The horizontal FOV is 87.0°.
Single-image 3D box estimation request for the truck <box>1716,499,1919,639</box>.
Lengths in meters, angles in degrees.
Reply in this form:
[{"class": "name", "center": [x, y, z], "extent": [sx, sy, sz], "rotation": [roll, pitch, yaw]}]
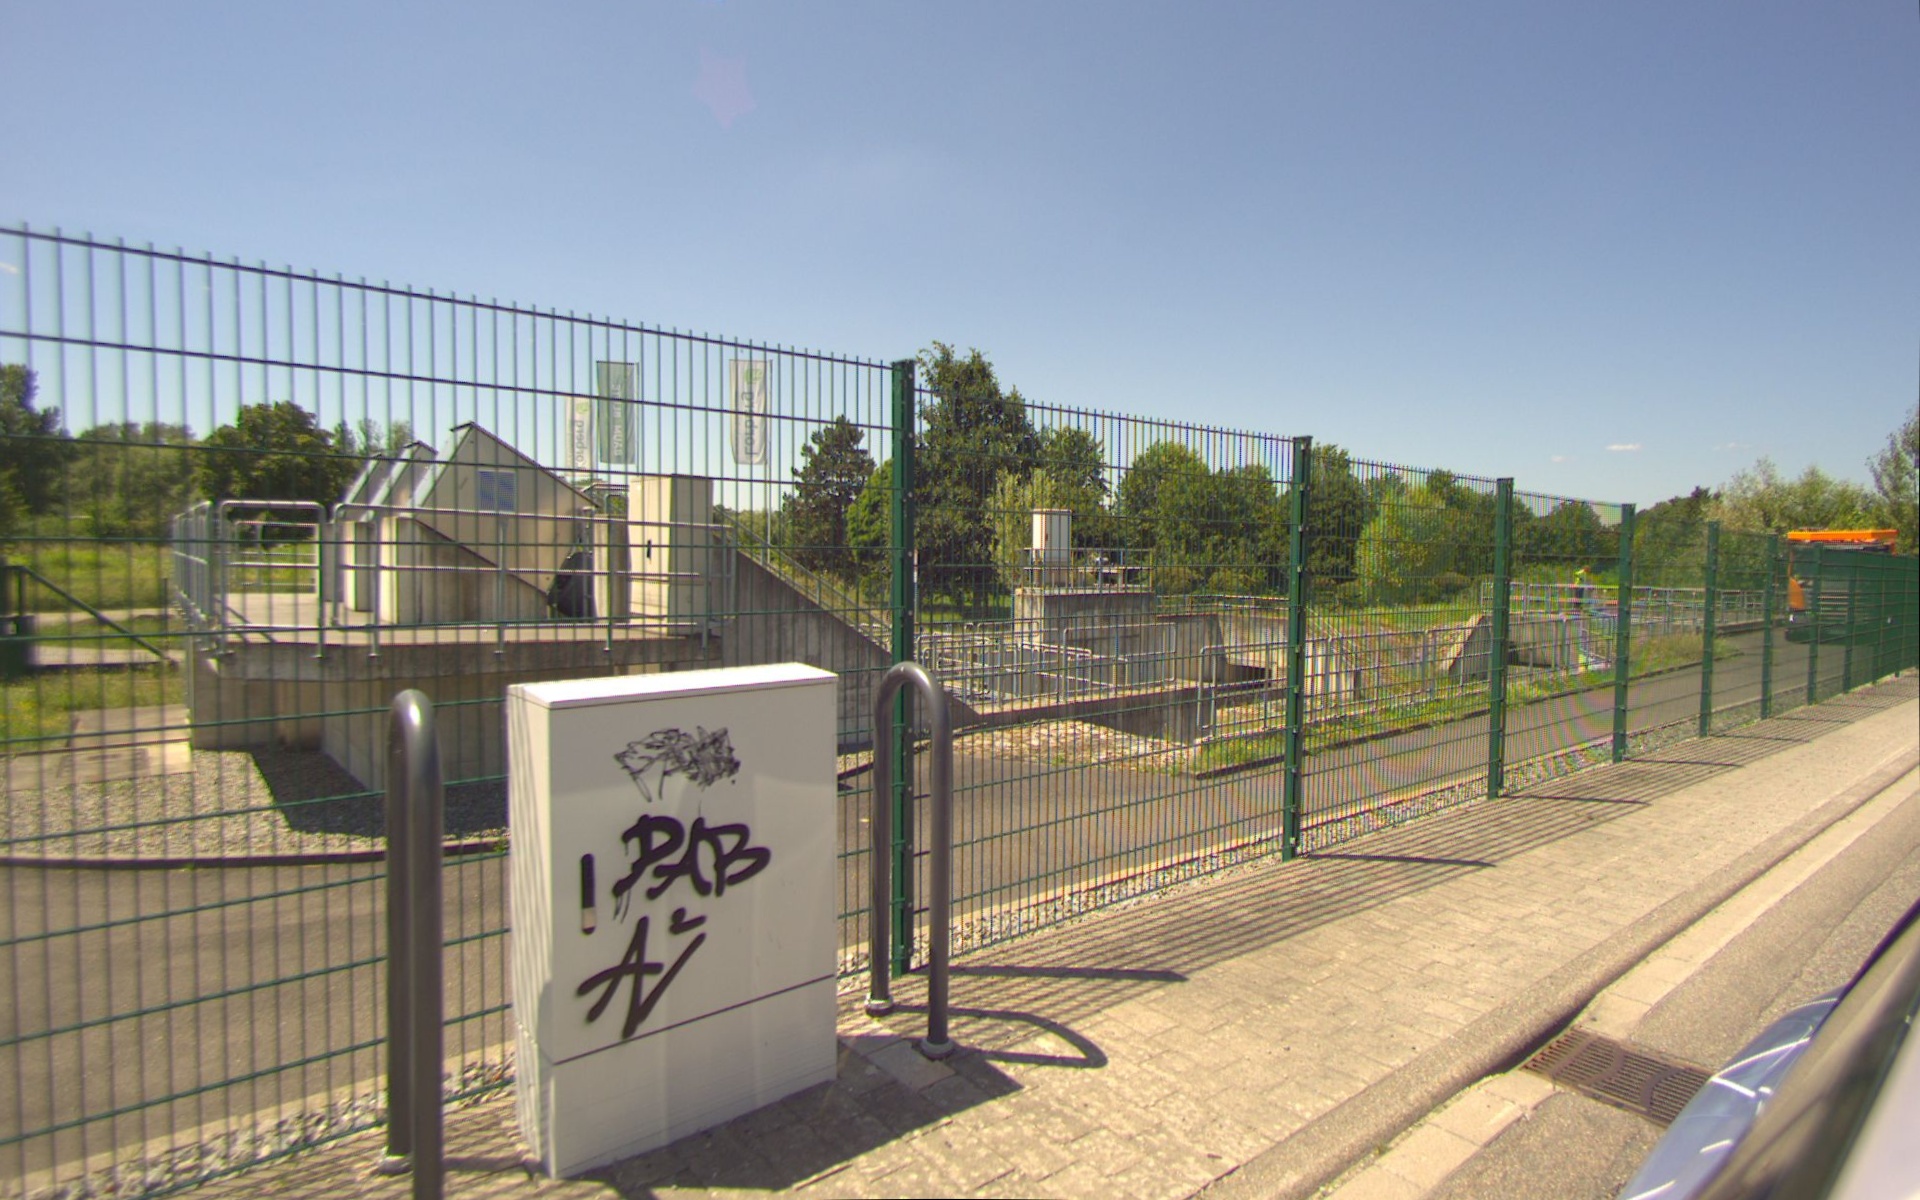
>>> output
[{"class": "truck", "center": [27.605, -1.074, 32.282], "extent": [8.470, 3.852, 4.156], "rotation": [-2, 4, -44]}]
